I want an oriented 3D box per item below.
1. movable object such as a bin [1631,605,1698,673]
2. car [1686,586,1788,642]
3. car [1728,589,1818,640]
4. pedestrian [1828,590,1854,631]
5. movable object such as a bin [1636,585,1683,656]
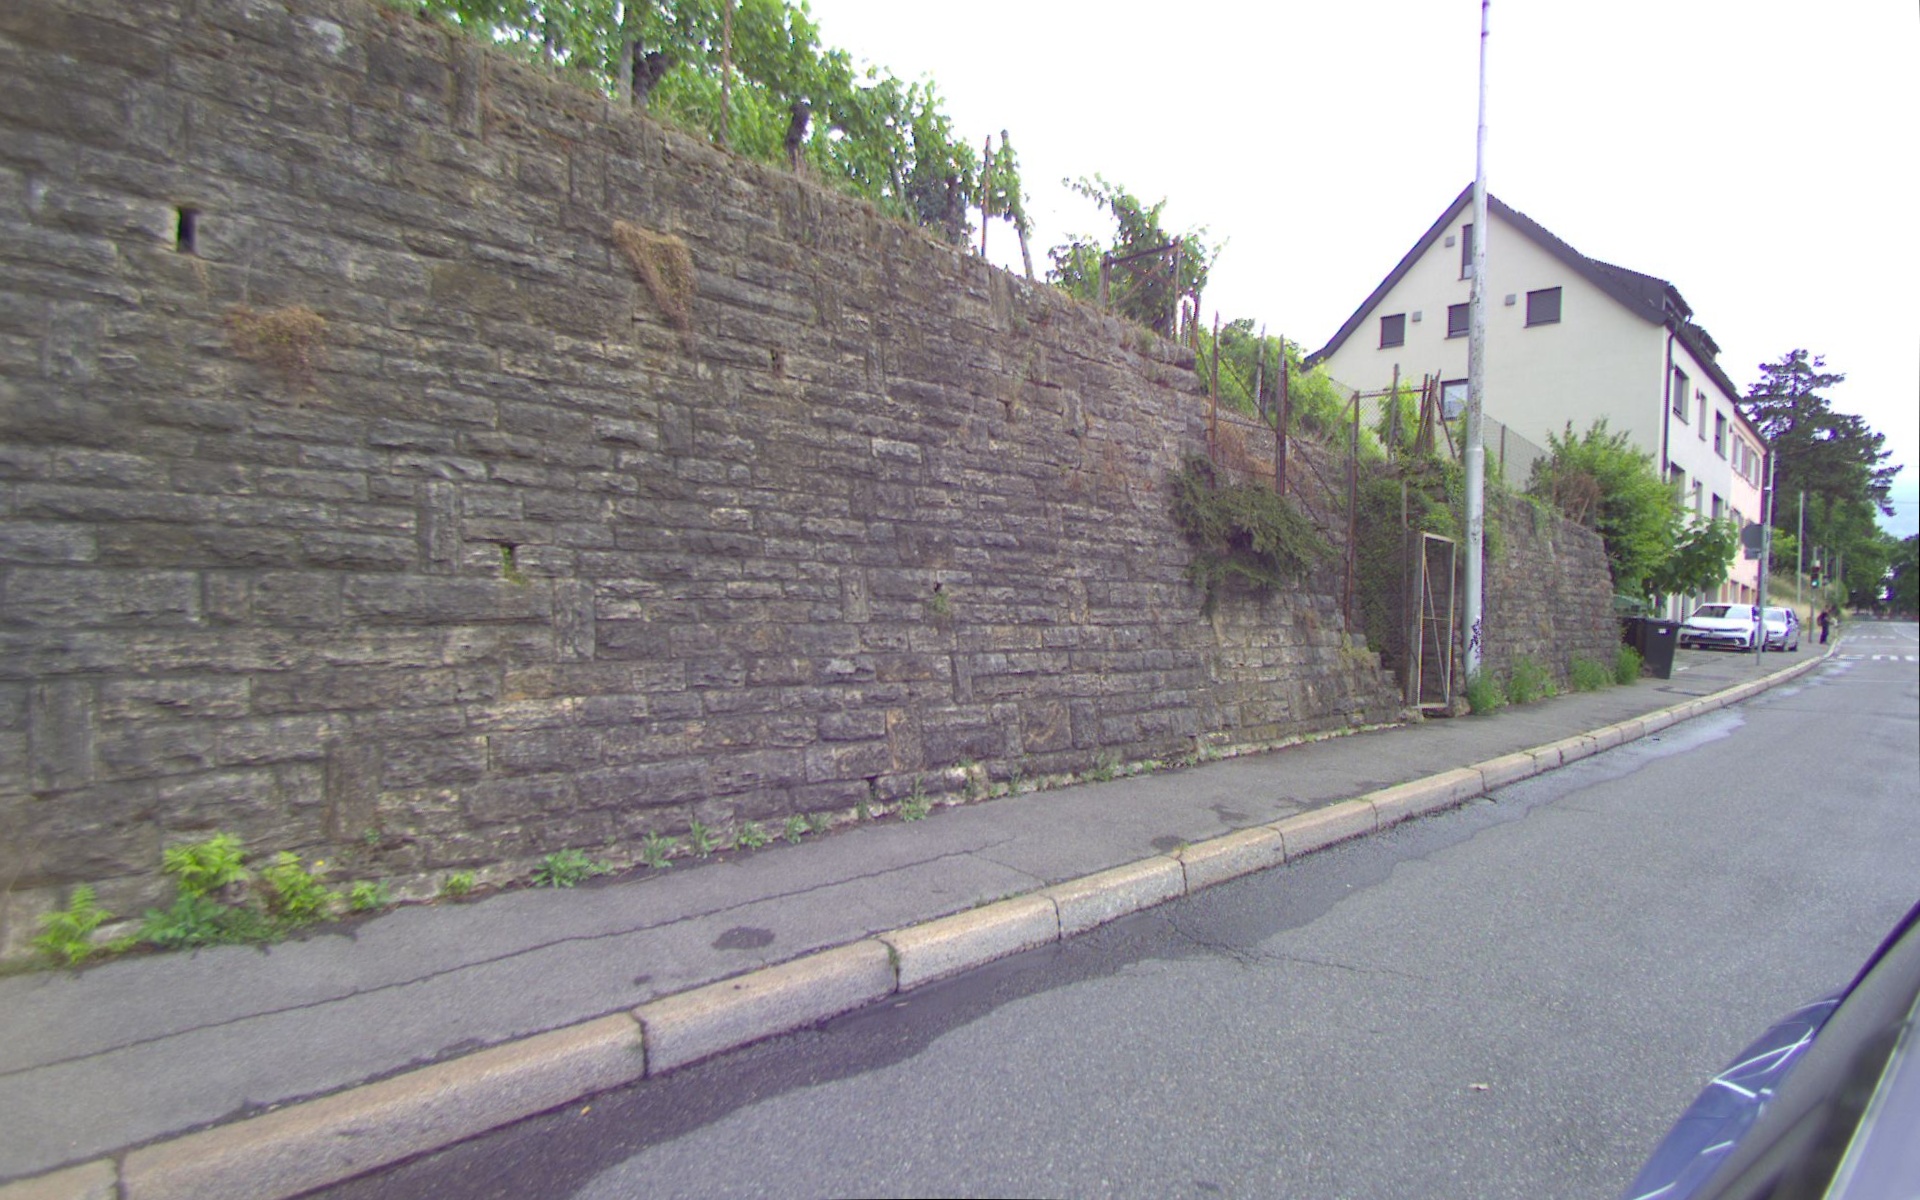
[{"bbox_3d":[12.564,0.677,18.047,0.860,1.141,0.810,1,1,-43],"label":"movable object such as a bin"},{"bbox_3d":[23.470,0.375,30.529,3.987,1.595,1.796,0,0,-43],"label":"car"},{"bbox_3d":[27.089,0.440,33.677,4.177,1.595,1.730,0,0,-43],"label":"car"},{"bbox_3d":[37.339,0.431,42.892,0.683,1.733,0.735,1,0,-39],"label":"pedestrian"},{"bbox_3d":[15.881,0.458,22.977,0.750,1.562,1.049,1,0,41],"label":"movable object such as a bin"}]
